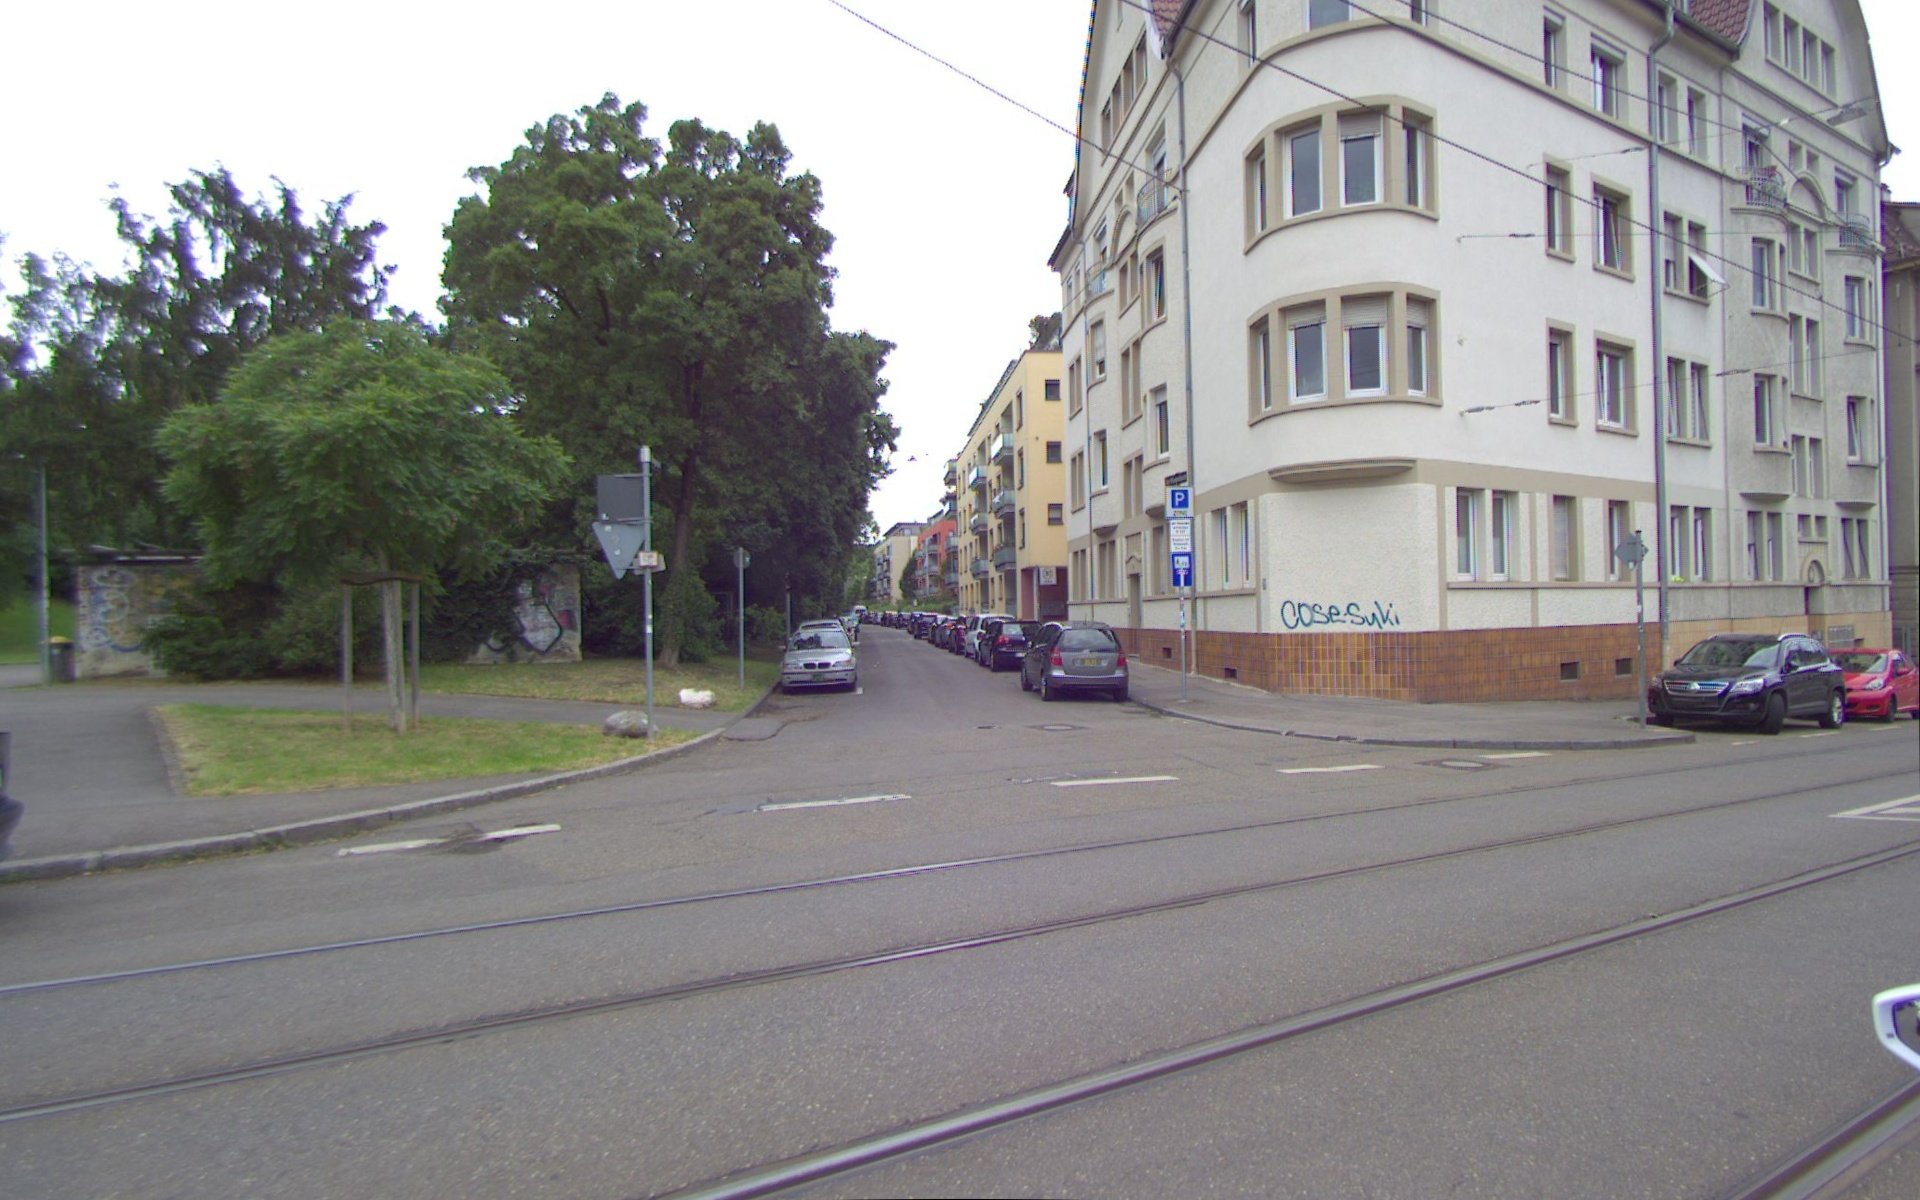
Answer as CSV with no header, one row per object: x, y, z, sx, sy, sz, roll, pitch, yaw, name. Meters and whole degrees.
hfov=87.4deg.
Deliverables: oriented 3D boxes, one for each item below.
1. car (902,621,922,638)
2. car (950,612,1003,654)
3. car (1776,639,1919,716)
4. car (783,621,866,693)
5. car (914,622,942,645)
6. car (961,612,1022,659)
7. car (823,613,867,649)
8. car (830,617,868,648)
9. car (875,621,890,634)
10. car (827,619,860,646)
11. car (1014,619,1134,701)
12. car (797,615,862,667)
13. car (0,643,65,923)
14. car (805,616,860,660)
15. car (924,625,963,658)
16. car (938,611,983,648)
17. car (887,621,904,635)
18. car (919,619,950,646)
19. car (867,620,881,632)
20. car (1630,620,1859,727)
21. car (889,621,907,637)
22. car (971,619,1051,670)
-4.446,2.728,92.686,1.727,1.564,3.998,1,-2,-5,car
0.595,1.315,39.964,1.727,1.564,3.998,1,-2,-5,car
18.712,1.591,20.907,3.705,1.482,1.612,3,-3,-33,car
-3.119,1.273,23.733,1.727,1.459,3.997,0,0,-5,car
-2.287,2.345,70.845,1.727,1.564,3.998,1,-2,-5,car
1.049,1.235,35.325,1.727,1.564,3.998,1,-2,-5,car
-4.872,1.320,43.065,1.727,1.438,3.998,1,-2,-5,car
-5.441,1.597,49.656,1.727,1.438,3.998,1,-2,-5,car
-9.127,3.238,118.189,1.727,1.564,3.998,1,-2,-5,car
-6.512,1.845,56.474,1.727,1.438,3.998,1,-2,-5,car
2.358,1.230,21.726,1.841,1.592,3.998,1,-2,-5,car
-3.890,1.218,30.502,1.727,1.438,3.998,1,-2,-5,car
-7.053,0.907,4.605,4.112,1.496,1.612,3,-3,-33,car
-4.455,1.324,35.544,1.727,1.438,3.998,1,-2,-5,car
-0.896,2.093,51.141,1.727,1.564,3.998,1,-2,-5,car
-0.019,1.304,45.099,1.727,1.564,3.998,1,-2,-5,car
-7.039,3.043,109.307,1.727,1.564,3.998,1,-2,-5,car
-1.597,1.999,61.695,1.727,1.564,3.998,1,-2,-5,car
-10.916,3.306,127.879,1.727,1.564,3.998,1,-2,-5,car
13.847,1.274,17.680,4.355,1.667,1.857,3,-3,-33,car
-6.378,2.929,102.604,1.727,1.564,3.998,1,-2,-5,car
1.430,1.291,29.749,1.841,1.372,3.998,1,-2,-5,car
